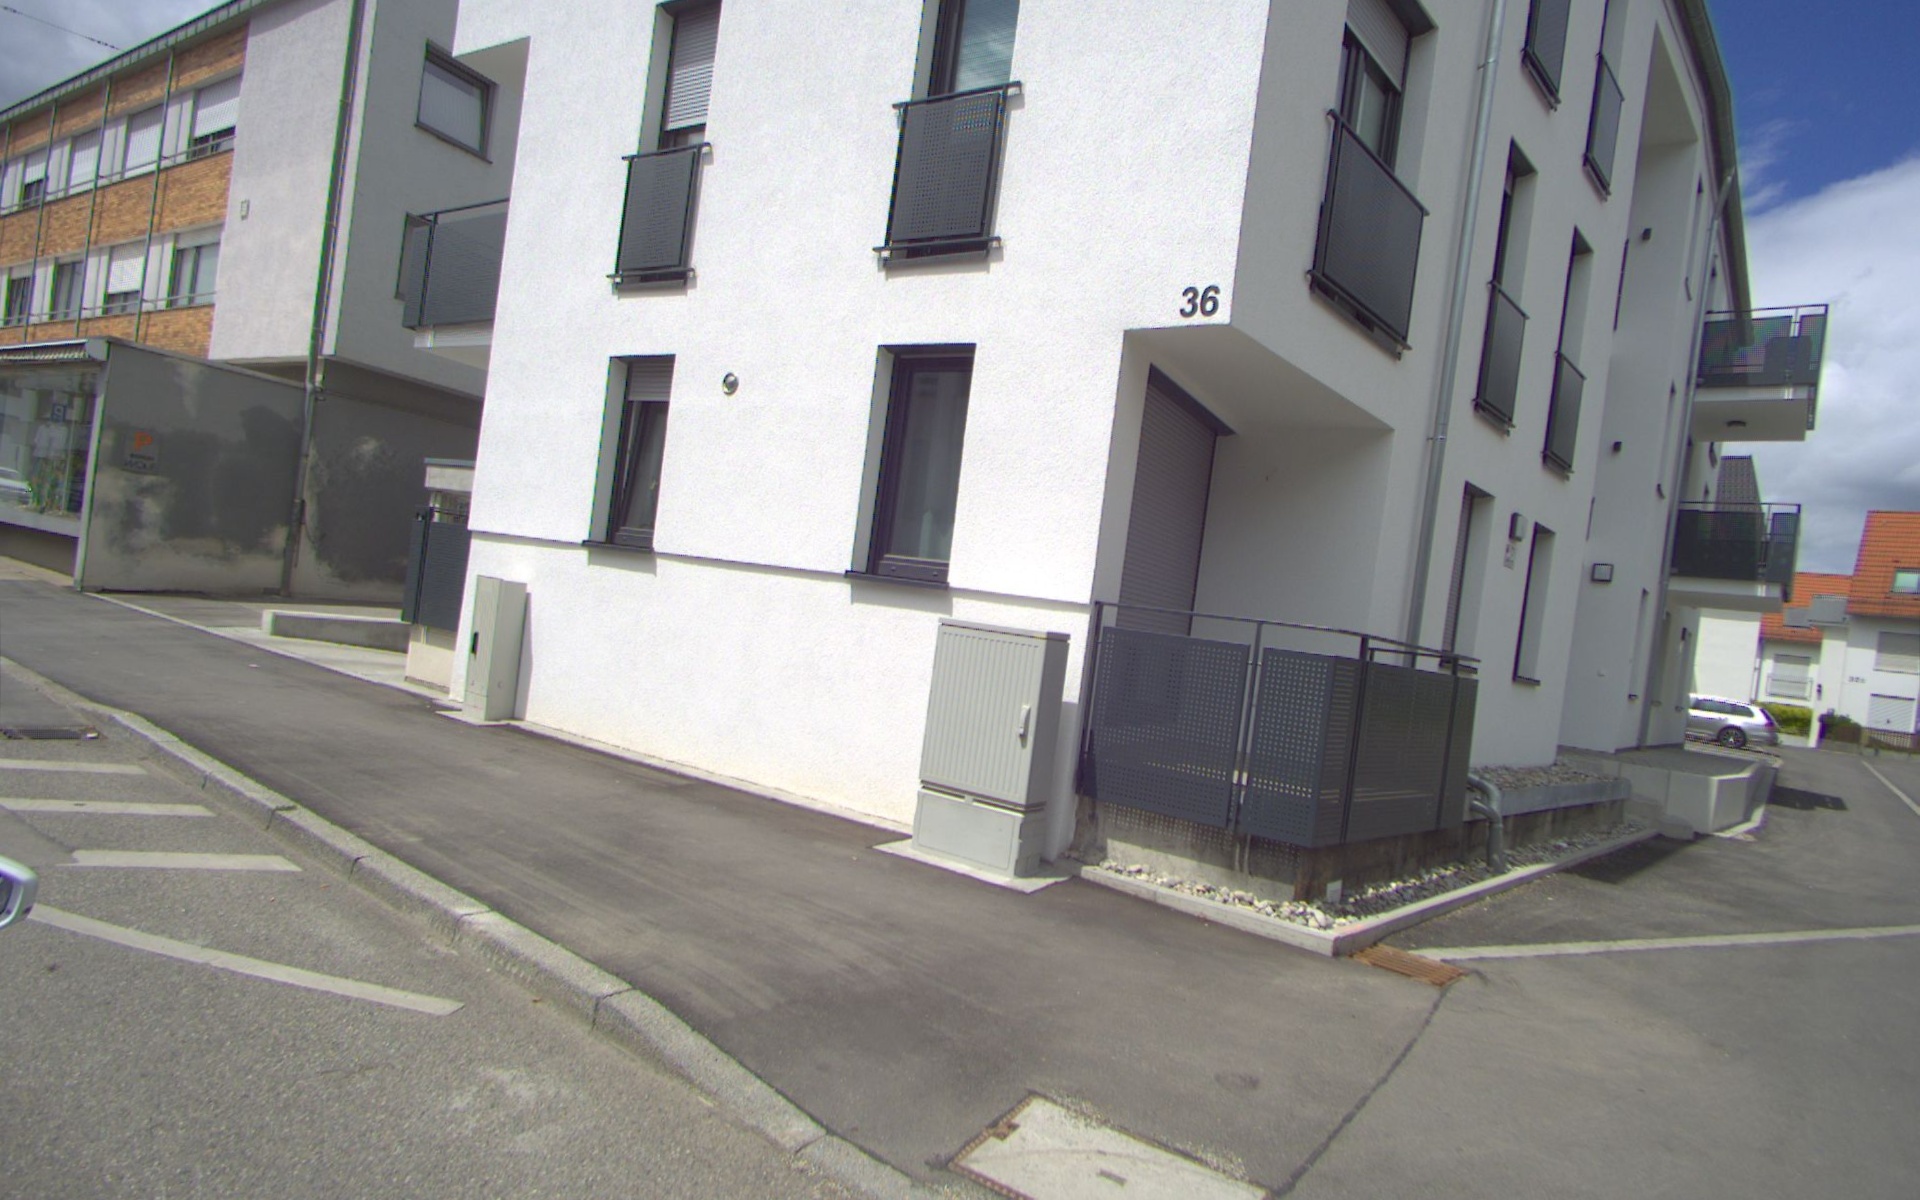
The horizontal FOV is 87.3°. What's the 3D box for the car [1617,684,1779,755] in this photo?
[{"bbox_3d":[23.336,3.755,31.894,3.880,1.523,1.690,8,0,42],"label":"car"}]
